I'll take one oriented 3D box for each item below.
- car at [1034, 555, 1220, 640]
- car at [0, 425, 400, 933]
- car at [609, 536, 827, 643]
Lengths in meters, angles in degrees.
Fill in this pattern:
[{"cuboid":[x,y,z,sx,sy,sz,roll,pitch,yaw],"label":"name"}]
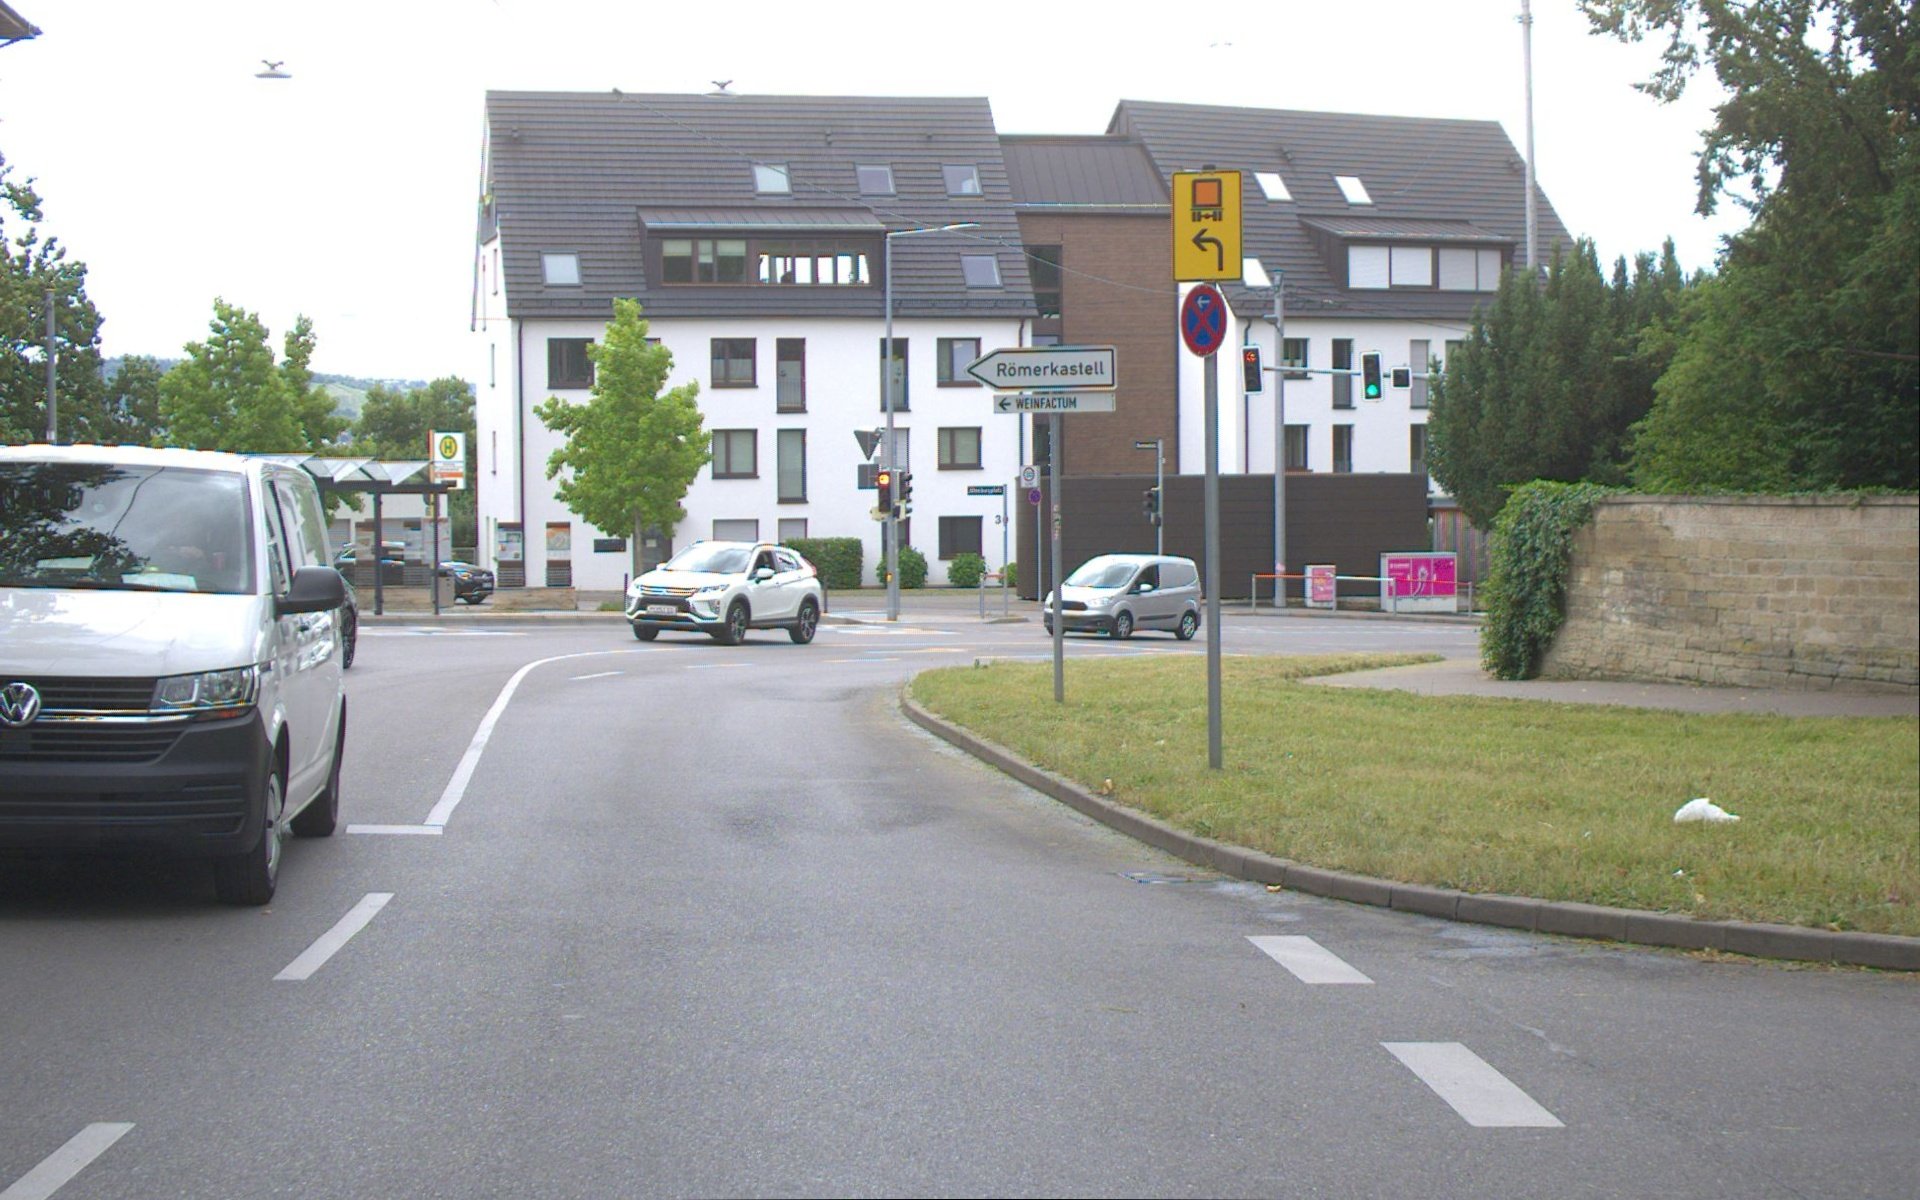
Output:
[{"cuboid":[3.427,-0.038,69.989,1.696,1.608,4.074,2,0,38],"label":"car"},{"cuboid":[-3.904,0.268,15.742,2.204,1.924,5.241,-1,1,-5],"label":"car"},{"cuboid":[-3.931,-0.145,56.695,1.793,1.605,4.503,1,-1,21],"label":"car"}]
